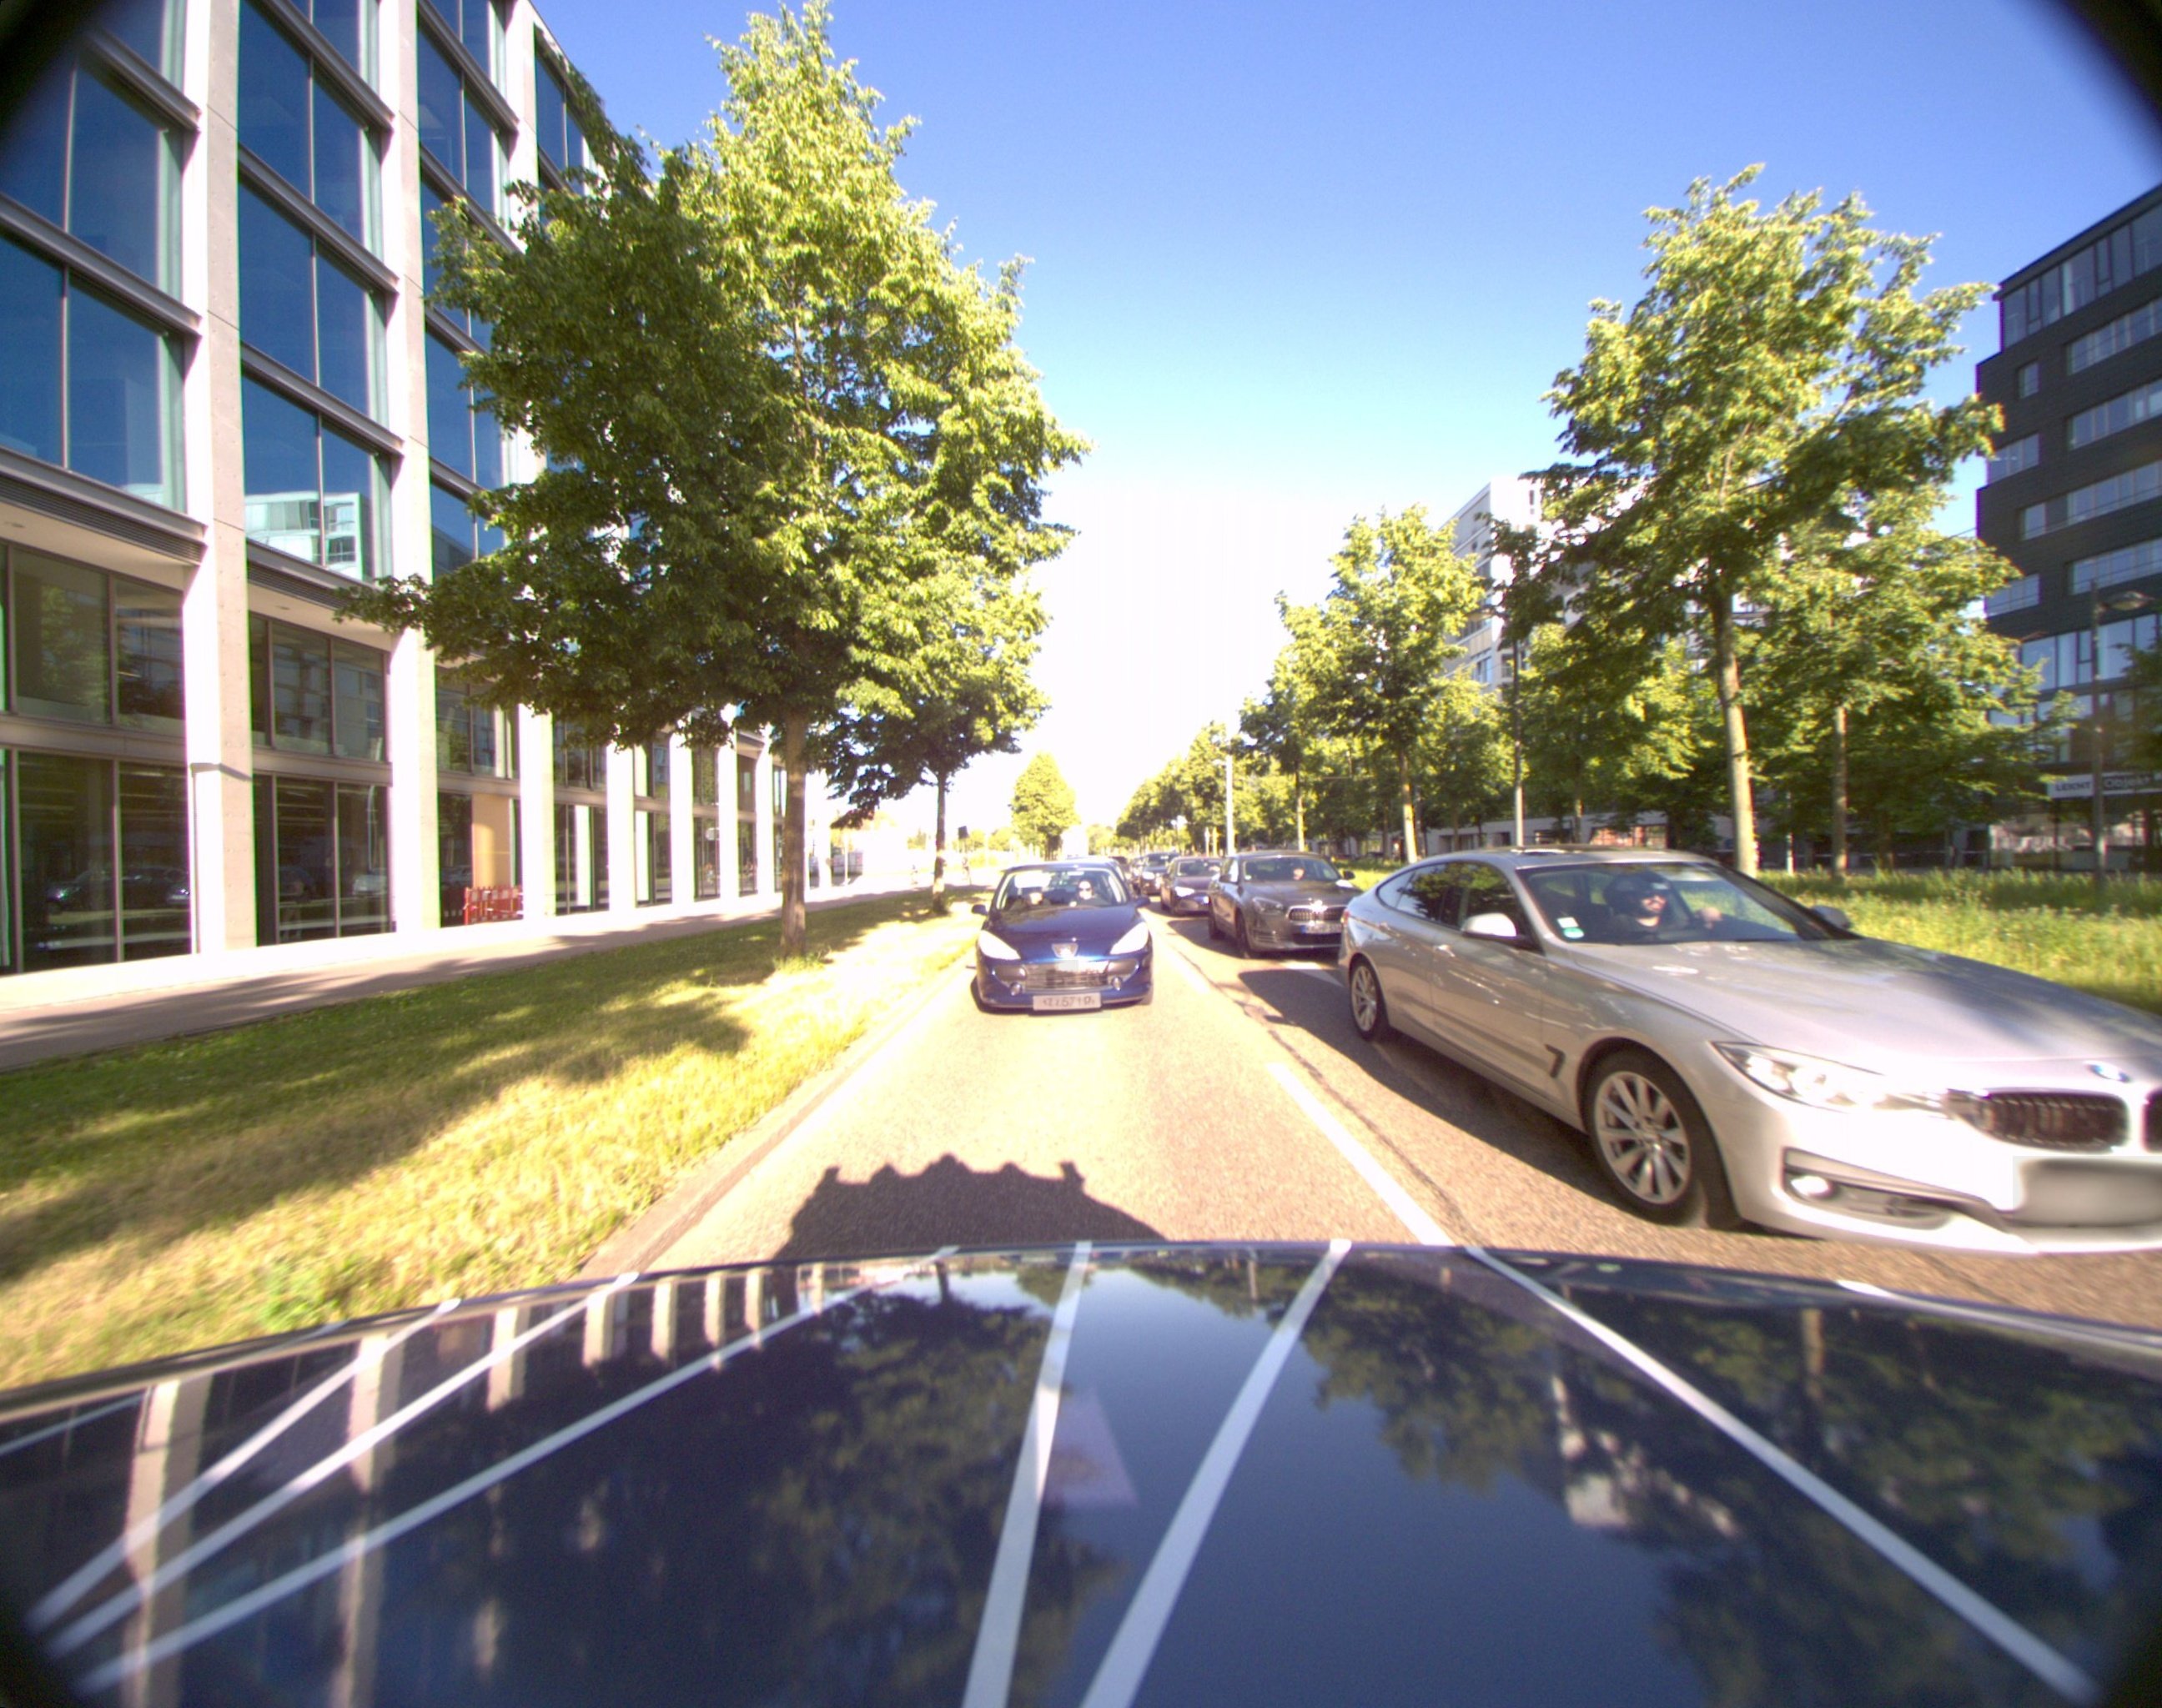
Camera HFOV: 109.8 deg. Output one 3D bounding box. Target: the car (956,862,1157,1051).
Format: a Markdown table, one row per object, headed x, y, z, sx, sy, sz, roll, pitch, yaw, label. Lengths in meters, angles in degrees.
| x | y | z | sx | sy | sz | roll | pitch | yaw | label |
| --- | --- | --- | --- | --- | --- | --- | --- | --- | --- |
| -0.195 | 0.897 | 8.363 | 1.686 | 1.514 | 3.785 | -1 | 0 | 0 | car |

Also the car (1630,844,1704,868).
| x | y | z | sx | sy | sz | roll | pitch | yaw | label |
| --- | --- | --- | --- | --- | --- | --- | --- | --- | --- |
| 38.568 | 0.097 | 50.145 | 1.757 | 1.496 | 3.999 | -1 | 0 | 0 | car |

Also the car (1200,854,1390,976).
| x | y | z | sx | sy | sz | roll | pitch | yaw | label |
| --- | --- | --- | --- | --- | --- | --- | --- | --- | --- |
| 3.071 | 0.785 | 11.791 | 1.812 | 1.514 | 4.028 | -1 | 0 | 0 | car |

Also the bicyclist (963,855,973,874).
| x | y | z | sx | sy | sz | roll | pitch | yaw | label |
| --- | --- | --- | --- | --- | --- | --- | --- | --- | --- |
| -7.953 | 0.732 | 53.567 | 0.534 | 1.282 | 0.521 | -2 | 1 | 1 | bicyclist |

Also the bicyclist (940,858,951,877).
| x | y | z | sx | sy | sz | roll | pitch | yaw | label |
| --- | --- | --- | --- | --- | --- | --- | --- | --- | --- |
| -8.762 | 0.863 | 49.155 | 0.534 | 1.210 | 0.507 | -2 | 1 | 1 | bicyclist |

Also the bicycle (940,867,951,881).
| x | y | z | sx | sy | sz | roll | pitch | yaw | label |
| --- | --- | --- | --- | --- | --- | --- | --- | --- | --- |
| -8.753 | 1.287 | 49.155 | 0.464 | 0.813 | 1.344 | -2 | 1 | 1 | bicycle |

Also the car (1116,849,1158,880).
| x | y | z | sx | sy | sz | roll | pitch | yaw | label |
| --- | --- | --- | --- | --- | --- | --- | --- | --- | --- |
| 3.258 | 0.567 | 44.918 | 2.012 | 1.689 | 4.791 | -1 | 0 | -1 | car |

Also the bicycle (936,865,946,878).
| x | y | z | sx | sy | sz | roll | pitch | yaw | label |
| --- | --- | --- | --- | --- | --- | --- | --- | --- | --- |
| -9.742 | 1.232 | 52.895 | 0.464 | 0.813 | 1.344 | -2 | 1 | 1 | bicycle |

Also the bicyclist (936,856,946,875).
| x | y | z | sx | sy | sz | roll | pitch | yaw | label |
| --- | --- | --- | --- | --- | --- | --- | --- | --- | --- |
| -9.738 | 0.803 | 52.880 | 0.534 | 1.282 | 0.457 | -2 | 1 | 1 | bicyclist |

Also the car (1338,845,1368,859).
| x | y | z | sx | sy | sz | roll | pitch | yaw | label |
| --- | --- | --- | --- | --- | --- | --- | --- | --- | --- |
| 34.050 | -0.273 | 95.271 | 2.012 | 1.689 | 4.791 | -1 | 0 | -1 | car |

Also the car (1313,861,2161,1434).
| x | y | z | sx | sy | sz | roll | pitch | yaw | label |
| --- | --- | --- | --- | --- | --- | --- | --- | --- | --- |
| 3.029 | 0.837 | 4.482 | 1.813 | 1.480 | 4.741 | -1 | 0 | -1 | car |

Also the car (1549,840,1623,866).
| x | y | z | sx | sy | sz | roll | pitch | yaw | label |
| --- | --- | --- | --- | --- | --- | --- | --- | --- | --- |
| 34.112 | -0.089 | 51.504 | 1.858 | 1.674 | 4.792 | -1 | 0 | 0 | car |

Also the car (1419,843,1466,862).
| x | y | z | sx | sy | sz | roll | pitch | yaw | label |
| --- | --- | --- | --- | --- | --- | --- | --- | --- | --- |
| 34.169 | -0.190 | 71.969 | 2.012 | 1.689 | 4.790 | -1 | 0 | -3 | car |

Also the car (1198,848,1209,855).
| x | y | z | sx | sy | sz | roll | pitch | yaw | label |
| --- | --- | --- | --- | --- | --- | --- | --- | --- | --- |
| 25.844 | -0.474 | 159.839 | 1.666 | 1.385 | 4.000 | -1 | 0 | 0 | car |

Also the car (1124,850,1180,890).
| x | y | z | sx | sy | sz | roll | pitch | yaw | label |
| --- | --- | --- | --- | --- | --- | --- | --- | --- | --- |
| 3.192 | 0.668 | 34.887 | 2.012 | 1.689 | 4.791 | -1 | 0 | -1 | car |

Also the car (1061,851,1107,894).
| x | y | z | sx | sy | sz | roll | pitch | yaw | label |
| --- | --- | --- | --- | --- | --- | --- | --- | --- | --- |
| 0.124 | 0.716 | 30.935 | 1.705 | 1.591 | 3.785 | -1 | 0 | 0 | car |

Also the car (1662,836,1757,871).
| x | y | z | sx | sy | sz | roll | pitch | yaw | label |
| --- | --- | --- | --- | --- | --- | --- | --- | --- | --- |
| 34.035 | -0.043 | 41.271 | 1.858 | 1.739 | 4.000 | -1 | 0 | 0 | car |

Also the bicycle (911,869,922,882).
| x | y | z | sx | sy | sz | roll | pitch | yaw | label |
| --- | --- | --- | --- | --- | --- | --- | --- | --- | --- |
| -10.442 | 1.358 | 48.242 | 0.415 | 0.813 | 1.320 | -2 | 1 | 1 | bicycle |

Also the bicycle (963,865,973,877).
| x | y | z | sx | sy | sz | roll | pitch | yaw | label |
| --- | --- | --- | --- | --- | --- | --- | --- | --- | --- |
| -7.947 | 1.205 | 53.512 | 0.464 | 0.813 | 1.344 | -2 | 1 | 1 | bicycle |

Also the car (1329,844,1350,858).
| x | y | z | sx | sy | sz | roll | pitch | yaw | label |
| --- | --- | --- | --- | --- | --- | --- | --- | --- | --- |
| 34.023 | -0.403 | 100.098 | 1.601 | 1.659 | 3.743 | -1 | 0 | 0 | car |

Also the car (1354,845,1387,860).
| x | y | z | sx | sy | sz | roll | pitch | yaw | label |
| --- | --- | --- | --- | --- | --- | --- | --- | --- | --- |
| 34.063 | -0.199 | 89.465 | 2.012 | 1.689 | 4.791 | -1 | 0 | -1 | car |

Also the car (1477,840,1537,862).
| x | y | z | sx | sy | sz | roll | pitch | yaw | label |
| --- | --- | --- | --- | --- | --- | --- | --- | --- | --- |
| 34.447 | -0.259 | 61.630 | 2.012 | 1.689 | 4.790 | -1 | 0 | -3 | car |

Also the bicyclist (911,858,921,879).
| x | y | z | sx | sy | sz | roll | pitch | yaw | label |
| --- | --- | --- | --- | --- | --- | --- | --- | --- | --- |
| -10.465 | 0.900 | 48.174 | 0.448 | 1.282 | 0.418 | -2 | 1 | 1 | bicyclist |

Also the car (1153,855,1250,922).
| x | y | z | sx | sy | sz | roll | pitch | yaw | label |
| --- | --- | --- | --- | --- | --- | --- | --- | --- | --- |
| 2.903 | 0.777 | 19.139 | 1.812 | 1.446 | 4.254 | -1 | 0 | 1 | car |

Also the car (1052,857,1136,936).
| x | y | z | sx | sy | sz | roll | pitch | yaw | label |
| --- | --- | --- | --- | --- | --- | --- | --- | --- | --- |
| 0.260 | 0.845 | 17.069 | 1.612 | 1.463 | 4.394 | -1 | 0 | 0 | car |

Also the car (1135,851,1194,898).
| x | y | z | sx | sy | sz | roll | pitch | yaw | label |
| --- | --- | --- | --- | --- | --- | --- | --- | --- | --- |
| 3.039 | 0.686 | 28.282 | 1.812 | 1.581 | 4.165 | -1 | 0 | 1 | car |

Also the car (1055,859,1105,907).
| x | y | z | sx | sy | sz | roll | pitch | yaw | label |
| --- | --- | --- | --- | --- | --- | --- | --- | --- | --- |
| -0.017 | 0.850 | 23.922 | 1.407 | 1.326 | 3.785 | -1 | 0 | 0 | car |

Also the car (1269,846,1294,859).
| x | y | z | sx | sy | sz | roll | pitch | yaw | label |
| --- | --- | --- | --- | --- | --- | --- | --- | --- | --- |
| 25.098 | -0.201 | 95.353 | 1.858 | 1.528 | 4.735 | -1 | 0 | 0 | car |
